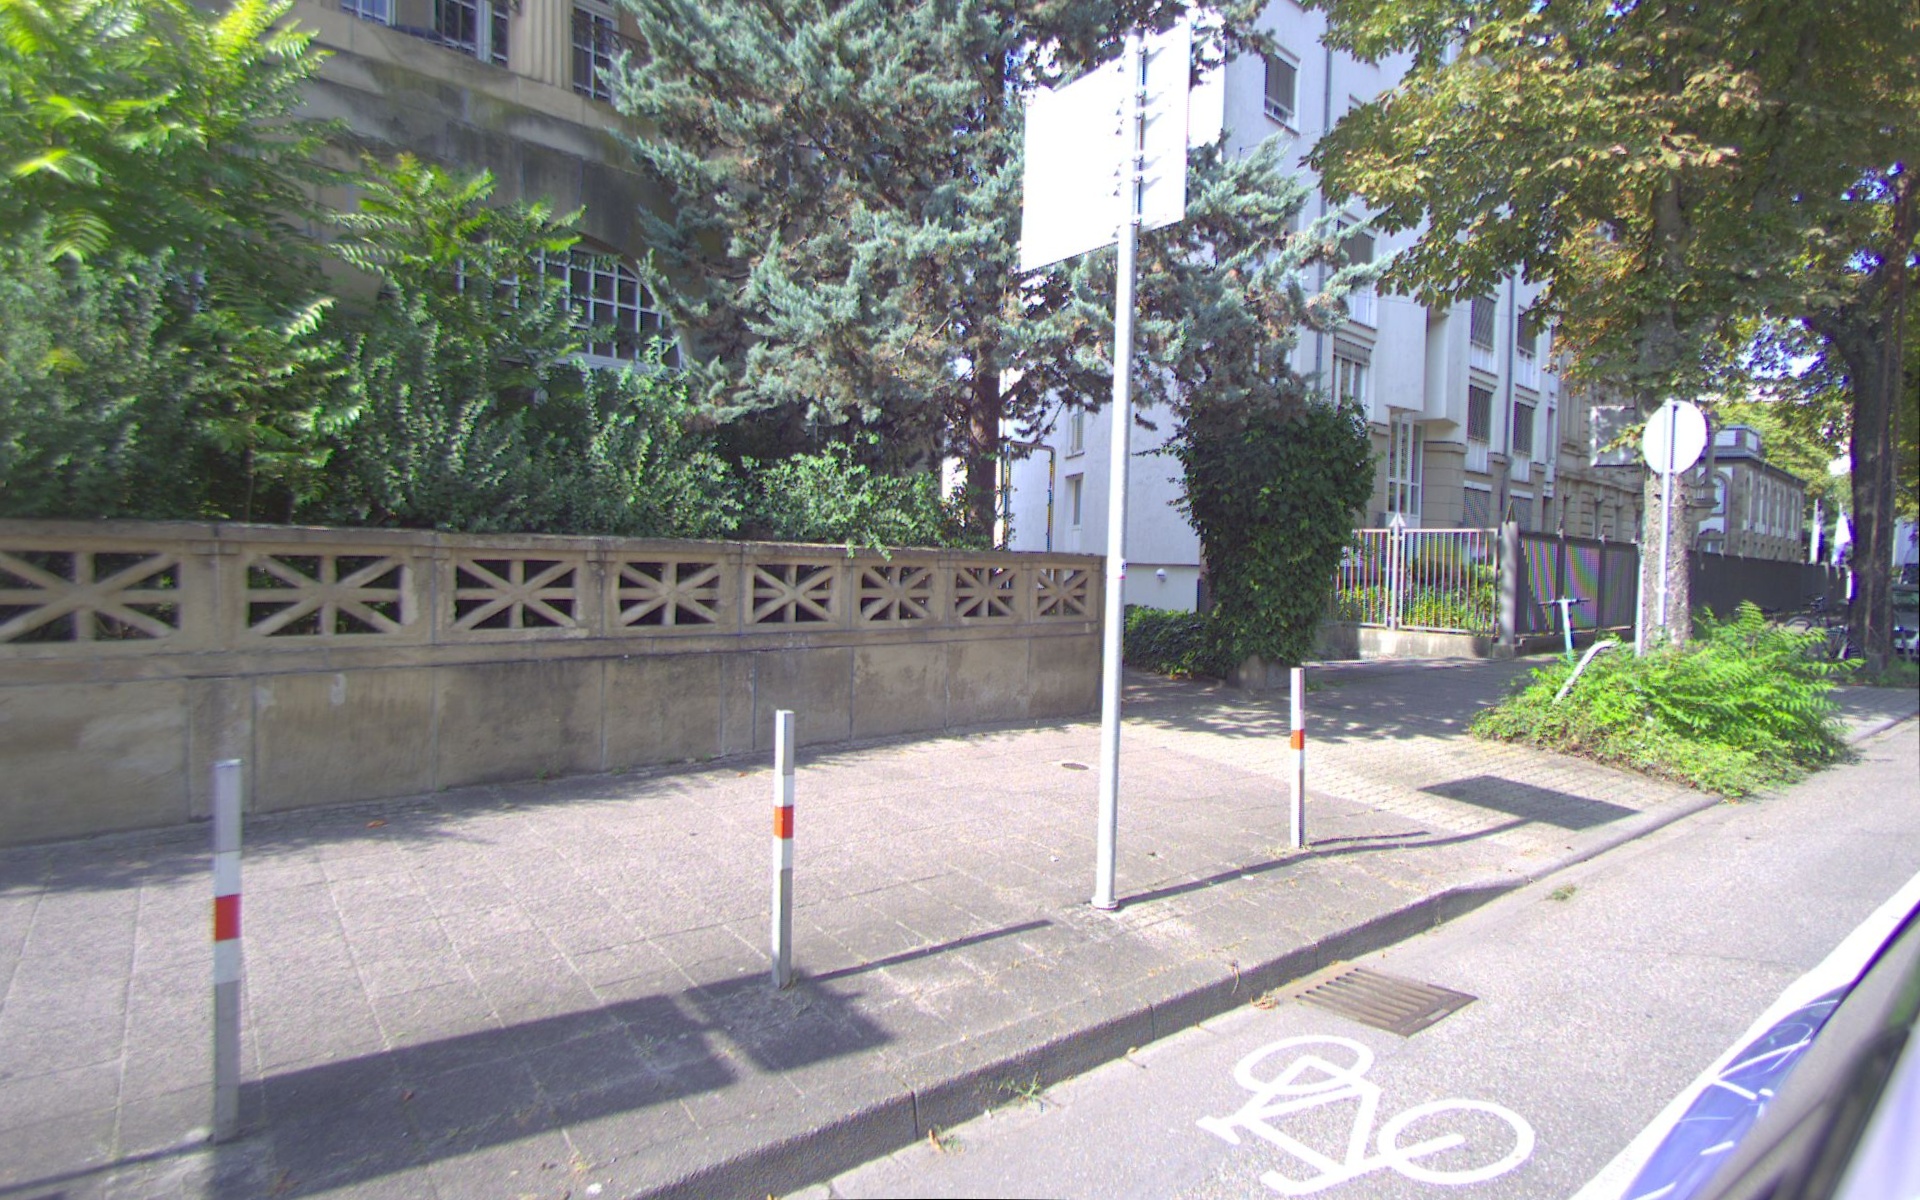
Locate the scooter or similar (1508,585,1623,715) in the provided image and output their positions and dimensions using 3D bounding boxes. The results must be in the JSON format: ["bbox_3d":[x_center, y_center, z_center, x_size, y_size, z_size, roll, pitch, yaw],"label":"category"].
[{"bbox_3d":[6.155,0.481,10.282,1.015,1.211,0.560,-1,6,-36],"label":"scooter or similar"}]

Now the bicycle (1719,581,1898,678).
[{"bbox_3d":[11.988,0.402,14.344,1.812,1.178,0.504,4,8,9],"label":"bicycle"}]

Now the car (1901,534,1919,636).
[{"bbox_3d":[26.600,-0.350,26.635,6.122,2.529,2.050,-1,3,-42],"label":"car"}]

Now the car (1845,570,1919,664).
[{"bbox_3d":[18.023,0.291,18.918,4.283,1.541,1.610,-1,6,-42],"label":"car"}]
